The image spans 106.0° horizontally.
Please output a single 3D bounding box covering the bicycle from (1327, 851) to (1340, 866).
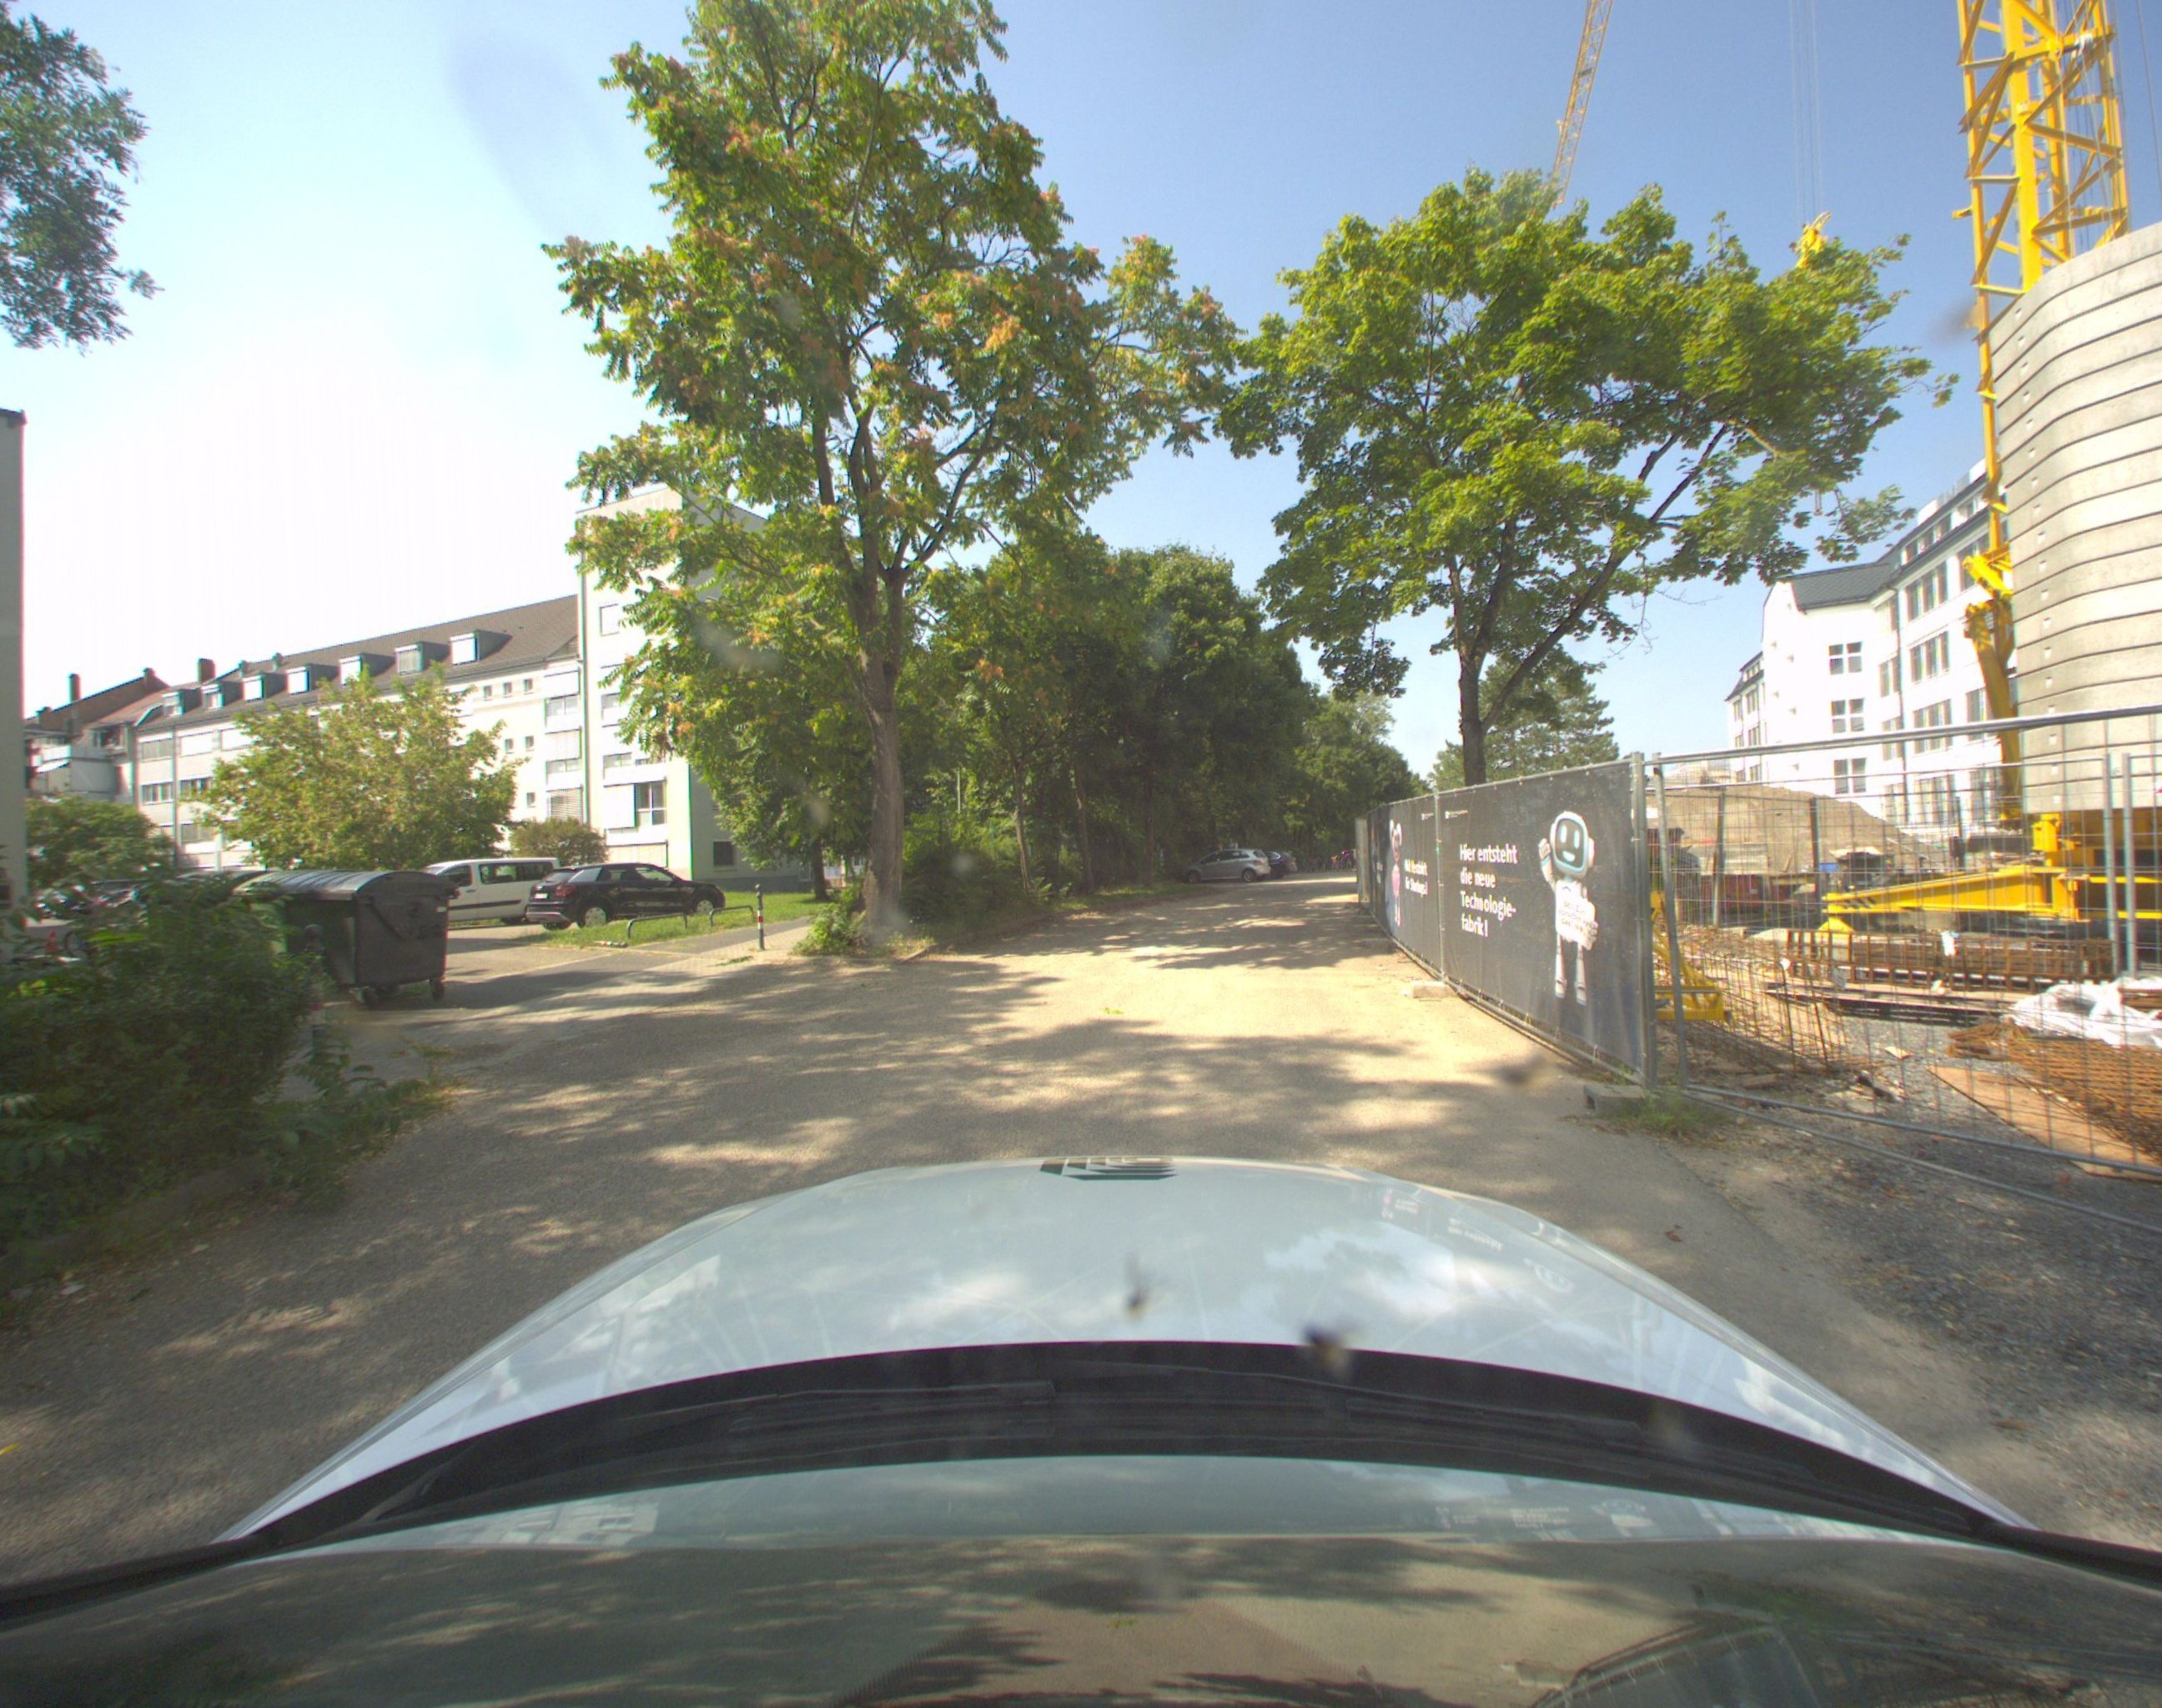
[{"bbox_3d":[19.534,0.317,63.054,0.494,1.107,1.811,-1,0,32],"label":"bicycle"}]

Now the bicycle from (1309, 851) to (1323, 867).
[{"bbox_3d":[17.066,0.384,59.059,0.494,1.107,1.811,-1,0,32],"label":"bicycle"}]

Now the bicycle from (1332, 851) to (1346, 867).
[{"bbox_3d":[18.987,0.349,59.918,0.494,1.107,1.811,-1,0,32],"label":"bicycle"}]

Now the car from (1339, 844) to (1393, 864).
[{"bbox_3d":[23.695,-0.003,67.712,3.950,1.510,1.811,-1,0,26],"label":"car"}]

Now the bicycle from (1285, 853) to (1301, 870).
[{"bbox_3d":[14.025,0.477,53.867,0.494,1.107,1.811,-1,0,32],"label":"bicycle"}]

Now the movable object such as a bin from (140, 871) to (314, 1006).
[{"bbox_3d":[-10.293,0.967,9.850,1.088,1.482,1.107,-1,0,21],"label":"movable object such as a bin"}]

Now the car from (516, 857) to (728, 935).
[{"bbox_3d":[-10.548,0.904,18.986,1.685,1.528,3.937,-2,0,33],"label":"car"}]

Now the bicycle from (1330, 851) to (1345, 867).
[{"bbox_3d":[18.247,0.365,57.925,0.494,1.107,1.811,-1,0,32],"label":"bicycle"}]

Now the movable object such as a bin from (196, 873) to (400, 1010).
[{"bbox_3d":[-9.106,0.963,9.518,1.316,1.432,1.256,-1,0,21],"label":"movable object such as a bin"}]

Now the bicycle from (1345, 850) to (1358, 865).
[{"bbox_3d":[20.886,0.256,62.800,0.494,1.107,1.811,-1,0,32],"label":"bicycle"}]

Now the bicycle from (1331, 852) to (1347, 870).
[{"bbox_3d":[16.433,0.428,51.862,0.494,1.107,1.811,-1,0,32],"label":"bicycle"}]

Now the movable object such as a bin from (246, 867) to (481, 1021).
[{"bbox_3d":[-7.695,0.905,8.817,1.359,1.493,1.340,-1,0,13],"label":"movable object such as a bin"}]

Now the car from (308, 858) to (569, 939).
[{"bbox_3d":[-17.671,1.135,22.709,2.470,1.881,5.116,-2,0,30],"label":"car"}]

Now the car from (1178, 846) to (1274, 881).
[{"bbox_3d":[6.986,0.461,39.213,4.108,1.612,2.012,-1,0,28],"label":"car"}]

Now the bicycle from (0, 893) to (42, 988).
[{"bbox_3d":[-15.949,1.252,11.929,2.145,1.302,0.613,-3,-1,31],"label":"bicycle"}]

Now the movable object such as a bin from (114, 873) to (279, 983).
[{"bbox_3d":[-12.778,1.021,11.803,1.192,1.444,1.256,-1,0,21],"label":"movable object such as a bin"}]

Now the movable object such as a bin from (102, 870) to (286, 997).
[{"bbox_3d":[-11.493,0.977,10.587,1.192,1.495,1.256,-1,0,21],"label":"movable object such as a bin"}]

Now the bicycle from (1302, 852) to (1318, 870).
[{"bbox_3d":[15.062,0.463,53.609,0.494,1.107,1.811,-1,0,32],"label":"bicycle"}]

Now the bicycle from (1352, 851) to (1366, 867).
[{"bbox_3d":[19.743,0.333,57.775,0.494,1.107,1.811,-1,0,32],"label":"bicycle"}]

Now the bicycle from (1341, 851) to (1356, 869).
[{"bbox_3d":[17.806,0.391,54.160,0.494,1.107,1.811,-1,0,32],"label":"bicycle"}]

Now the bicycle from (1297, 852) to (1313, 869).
[{"bbox_3d":[15.294,0.442,55.625,0.494,1.107,1.811,-1,0,32],"label":"bicycle"}]

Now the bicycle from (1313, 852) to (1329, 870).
[{"bbox_3d":[15.584,0.443,52.928,0.494,1.107,1.811,-1,0,32],"label":"bicycle"}]

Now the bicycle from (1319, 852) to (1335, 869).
[{"bbox_3d":[16.718,0.418,55.332,0.494,1.107,1.811,-1,0,32],"label":"bicycle"}]

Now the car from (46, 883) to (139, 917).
[{"bbox_3d":[-48.911,2.284,40.292,3.952,1.510,1.810,-3,-1,22],"label":"car"}]

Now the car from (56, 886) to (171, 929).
[{"bbox_3d":[-38.635,2.147,32.525,3.952,1.510,1.810,-3,-1,22],"label":"car"}]

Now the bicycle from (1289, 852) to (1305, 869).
[{"bbox_3d":[14.813,0.465,55.861,0.494,1.107,1.811,-1,0,32],"label":"bicycle"}]

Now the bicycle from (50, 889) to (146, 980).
[{"bbox_3d":[-15.481,1.242,12.812,2.145,1.302,0.613,-3,-1,31],"label":"bicycle"}]

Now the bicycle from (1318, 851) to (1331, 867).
[{"bbox_3d":[18.192,0.353,60.833,0.494,1.107,1.811,-1,0,32],"label":"bicycle"}]

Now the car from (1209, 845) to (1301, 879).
[{"bbox_3d":[8.778,0.410,41.189,4.108,1.612,2.012,-1,0,28],"label":"car"}]
